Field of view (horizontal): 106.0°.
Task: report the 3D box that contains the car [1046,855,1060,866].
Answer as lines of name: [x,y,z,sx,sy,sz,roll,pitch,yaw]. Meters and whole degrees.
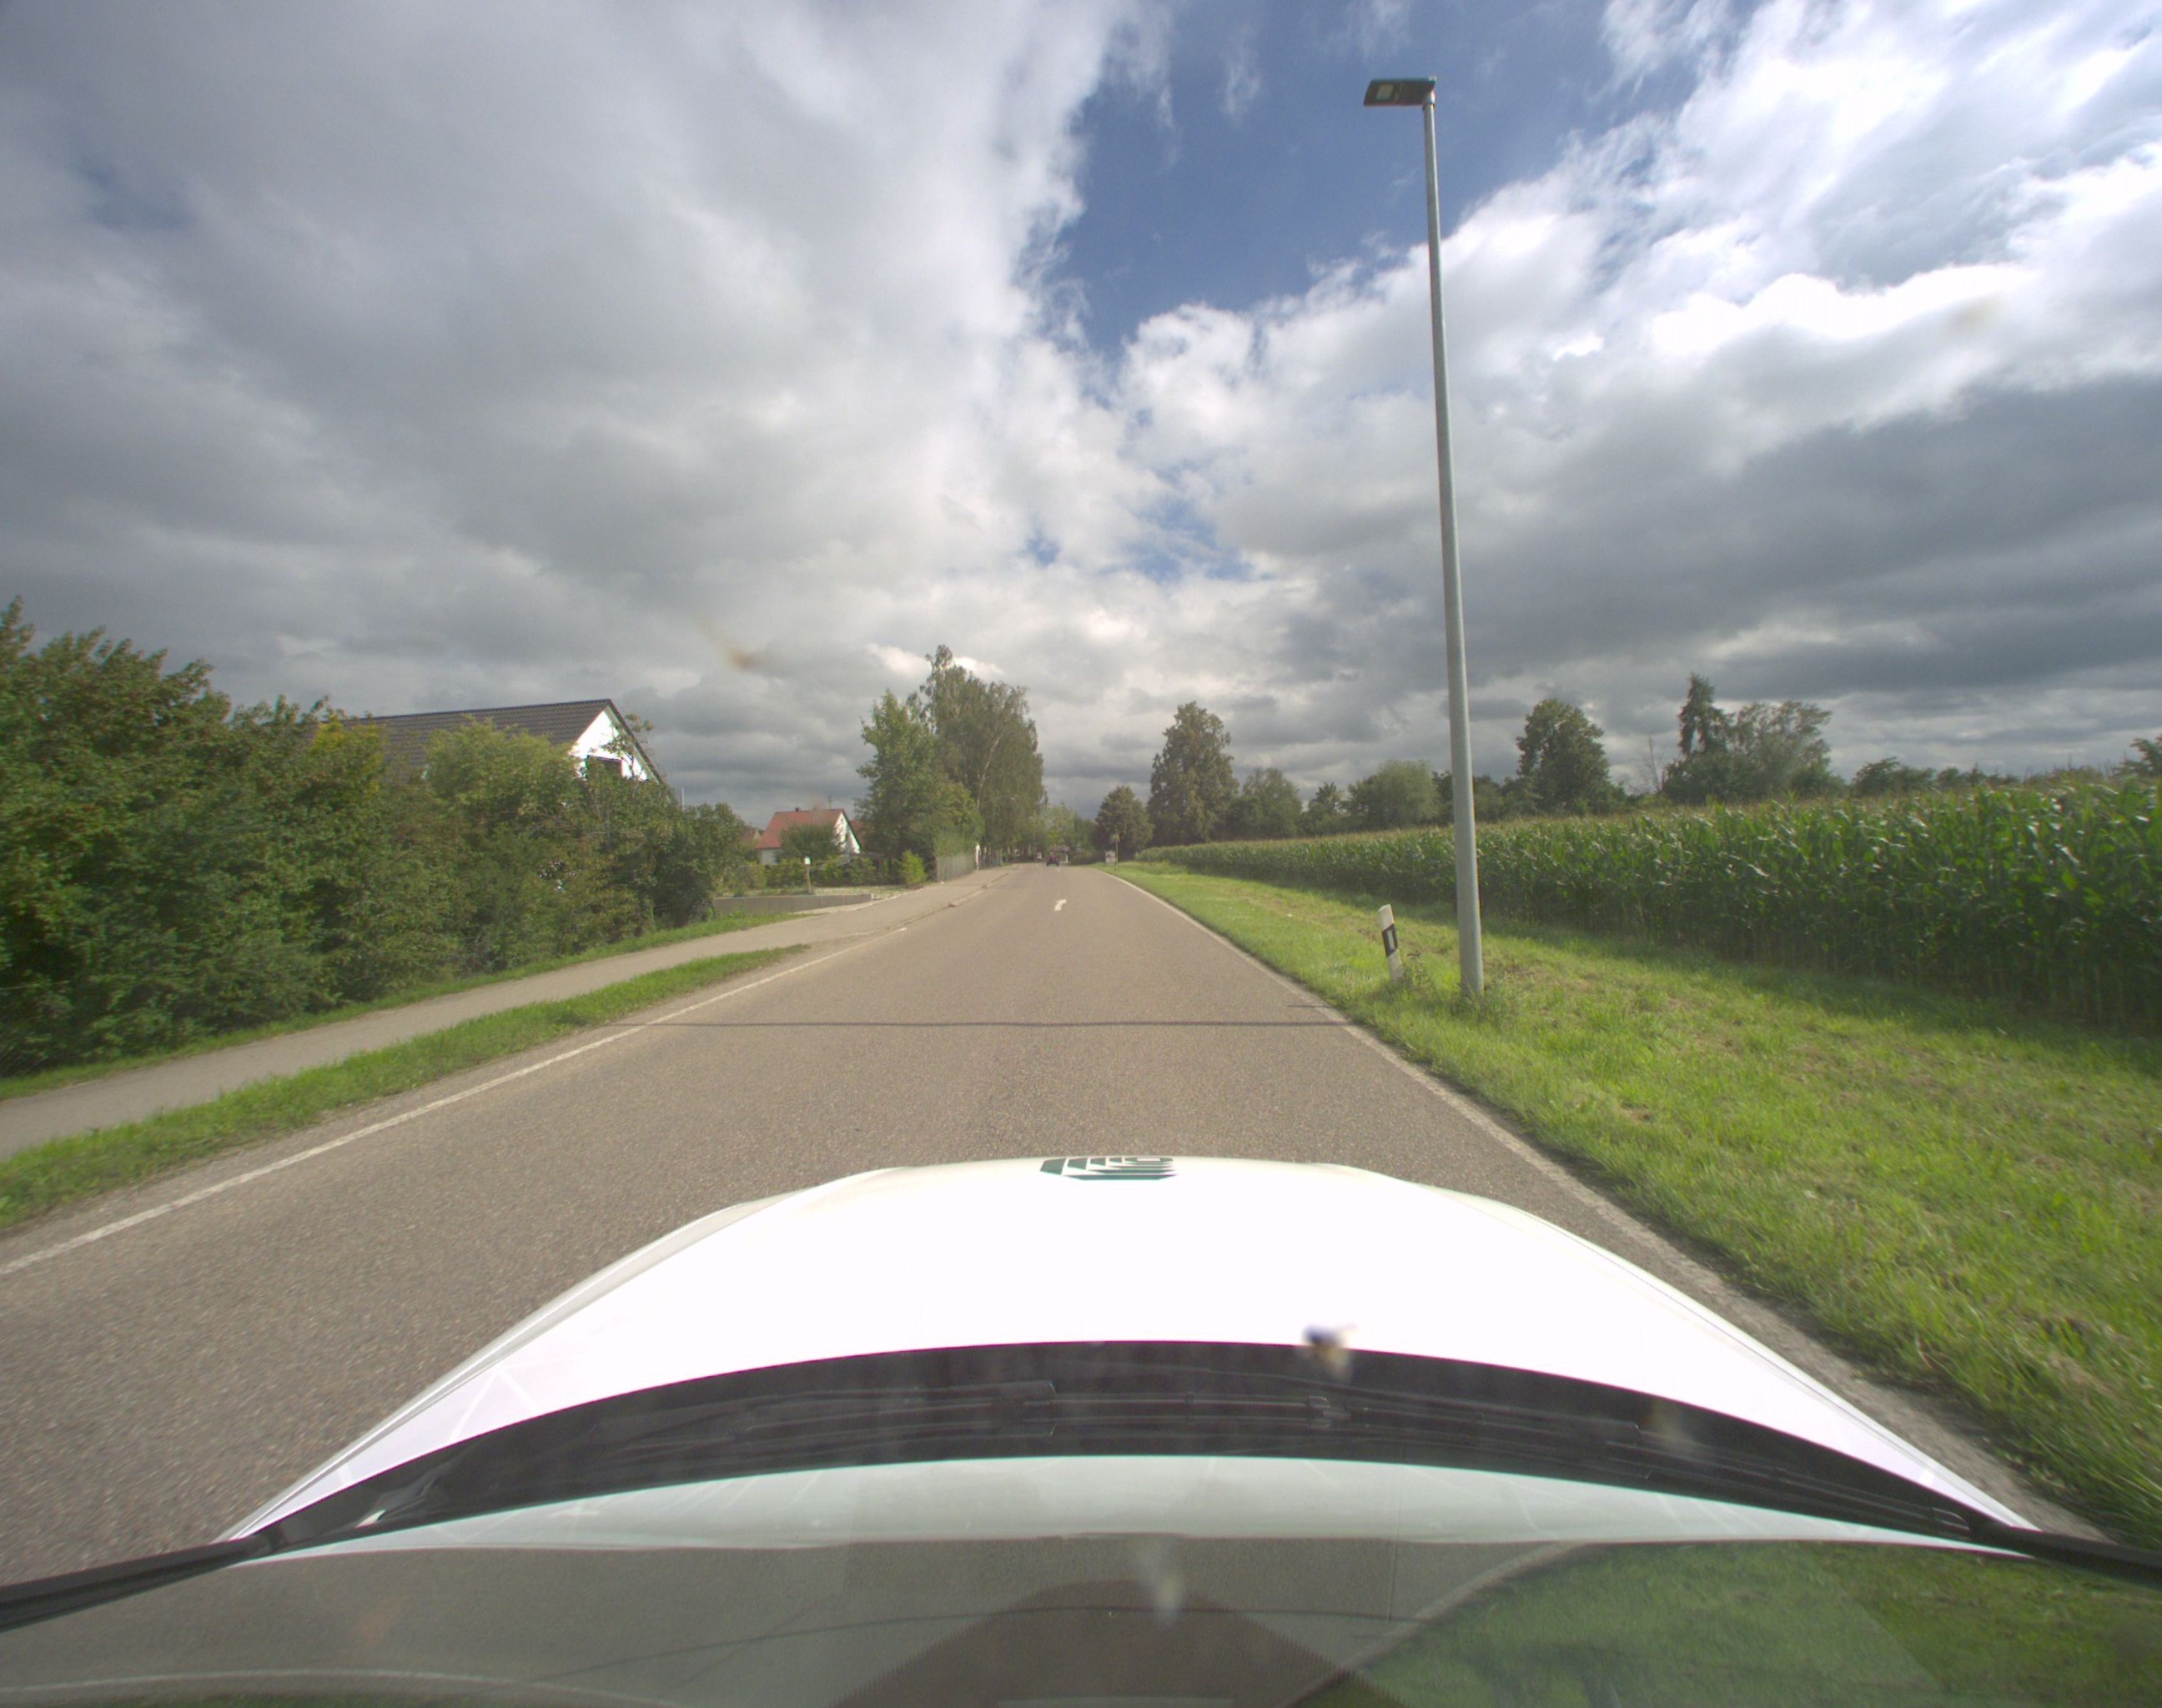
car: [-4.486,1.050,128.448,1.991,1.585,3.992,-1,0,-6]
